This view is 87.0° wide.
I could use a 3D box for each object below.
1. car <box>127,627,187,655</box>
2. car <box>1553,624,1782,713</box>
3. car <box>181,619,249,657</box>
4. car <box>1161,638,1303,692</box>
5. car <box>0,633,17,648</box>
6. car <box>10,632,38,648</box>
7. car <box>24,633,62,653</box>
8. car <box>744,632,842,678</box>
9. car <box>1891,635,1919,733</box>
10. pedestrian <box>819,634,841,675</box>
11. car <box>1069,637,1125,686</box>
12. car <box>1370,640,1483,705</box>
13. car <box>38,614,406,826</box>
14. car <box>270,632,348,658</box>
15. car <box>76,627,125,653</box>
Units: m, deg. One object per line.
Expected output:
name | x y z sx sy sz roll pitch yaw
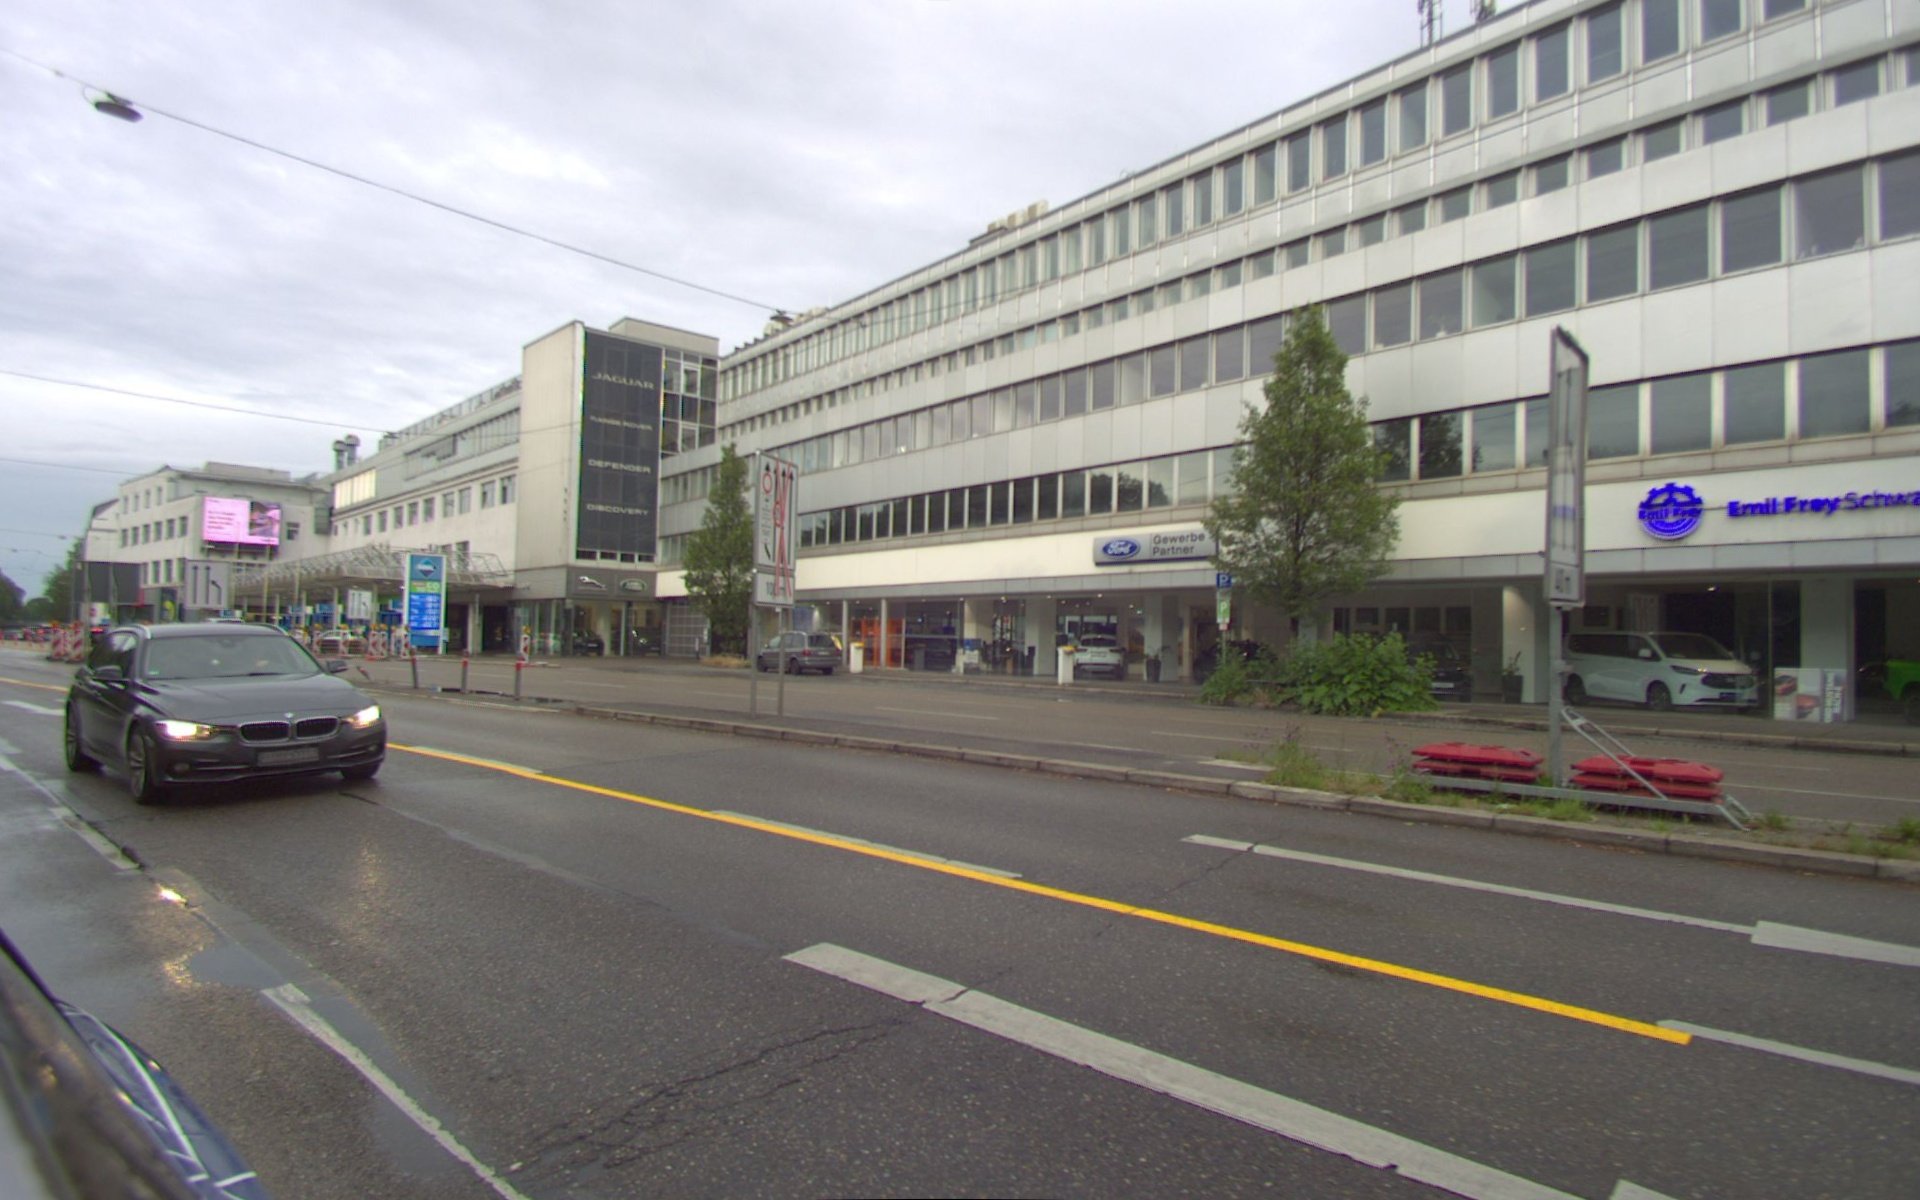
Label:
car | -46.572 2.348 58.697 4.369 1.514 1.811 -1 -5 40
car | 17.100 1.665 24.862 1.971 1.912 4.989 2 -3 -2
car | -37.859 1.918 51.403 4.298 1.799 1.716 -1 -5 40
car | 8.543 2.034 32.027 1.967 1.586 4.009 4 -4 -36
car | -113.282 4.805 119.648 4.826 1.720 1.960 -1 -4 39
car | -93.601 3.989 101.209 4.001 1.525 1.732 -1 -4 44
car | -76.038 3.561 83.926 4.299 1.570 1.789 -1 -4 41
car | -7.045 2.277 42.351 1.825 1.792 4.738 5 -4 -39
car | 20.568 1.637 18.879 1.976 2.027 5.194 1 -3 7
pedestrian | -5.727 2.394 44.510 0.709 1.745 0.539 4 -4 -36
car | 5.120 2.331 38.238 1.831 1.664 4.378 1 -3 5
car | 12.598 1.956 27.574 1.980 1.586 3.983 1 -4 13
car | -7.012 0.915 9.463 4.173 1.460 1.742 0 2 39
car | -48.658 3.395 75.733 4.374 1.784 1.971 3 -4 -10
car | -59.122 2.736 69.620 4.602 1.751 1.826 -1 -4 41
